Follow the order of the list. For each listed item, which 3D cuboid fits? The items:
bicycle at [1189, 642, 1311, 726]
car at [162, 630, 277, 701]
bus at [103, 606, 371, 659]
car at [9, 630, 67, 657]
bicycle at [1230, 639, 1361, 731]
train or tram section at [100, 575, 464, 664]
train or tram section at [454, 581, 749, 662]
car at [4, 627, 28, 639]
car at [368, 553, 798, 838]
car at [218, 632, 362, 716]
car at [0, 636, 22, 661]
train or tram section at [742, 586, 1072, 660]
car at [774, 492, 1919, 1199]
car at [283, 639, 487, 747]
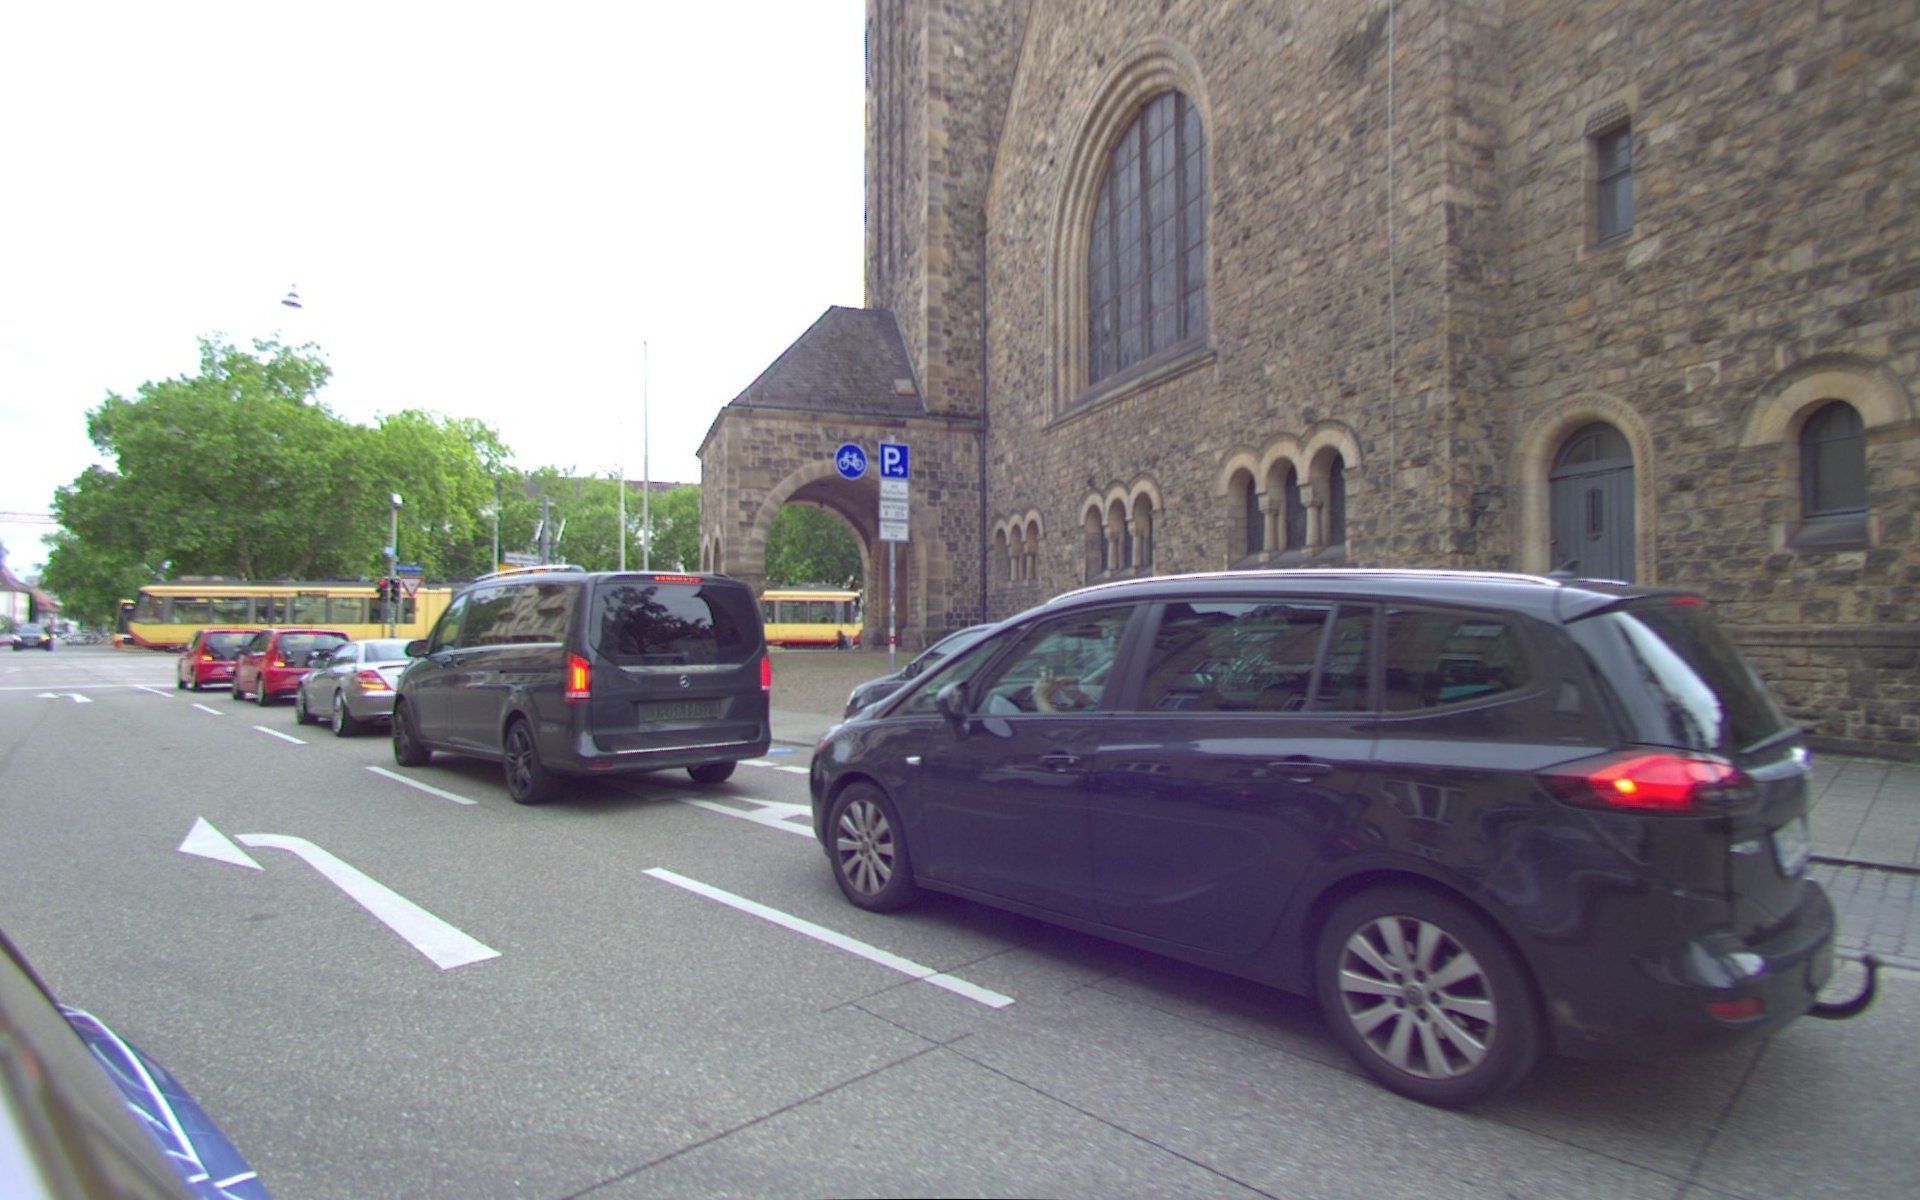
[{"bbox_3d":[4.177,1.174,14.527,1.753,1.139,0.663,1,-2,-32],"label":"bicycle"},{"bbox_3d":[-17.679,1.553,24.094,1.629,1.540,3.896,5,-6,-44],"label":"car"},{"bbox_3d":[-41.464,1.886,58.722,12.166,2.878,3.303,1,-1,-19],"label":"bus"},{"bbox_3d":[-62.104,2.960,68.233,1.879,1.732,3.751,1,-5,-26],"label":"car"},{"bbox_3d":[4.592,1.128,13.832,1.753,1.175,0.744,1,-2,-32],"label":"bicycle"},{"bbox_3d":[-33.474,1.031,51.066,14.780,4.124,3.666,1,-1,-18],"label":"train or tram section"},{"bbox_3d":[-19.359,1.224,55.671,14.780,4.124,3.592,1,-1,-18],"label":"train or tram section"},{"bbox_3d":[-160.576,5.643,172.148,1.965,2.029,4.013,1,-1,-29],"label":"car"},{"bbox_3d":[-3.834,0.757,9.598,1.889,1.969,5.288,2,-3,-44],"label":"car"},{"bbox_3d":[-13.238,1.417,19.928,1.584,1.468,3.720,5,-4,-45],"label":"car"},{"bbox_3d":[-69.785,3.526,73.466,1.635,1.732,3.750,1,-5,-29],"label":"car"},{"bbox_3d":[-2.984,1.461,61.076,19.605,4.124,3.639,1,-1,-18],"label":"train or tram section"},{"bbox_3d":[1.219,0.697,4.444,1.823,1.697,4.552,2,-3,-44],"label":"car"},{"bbox_3d":[-8.432,1.269,14.677,1.684,1.296,4.047,5,-4,-42],"label":"car"}]
